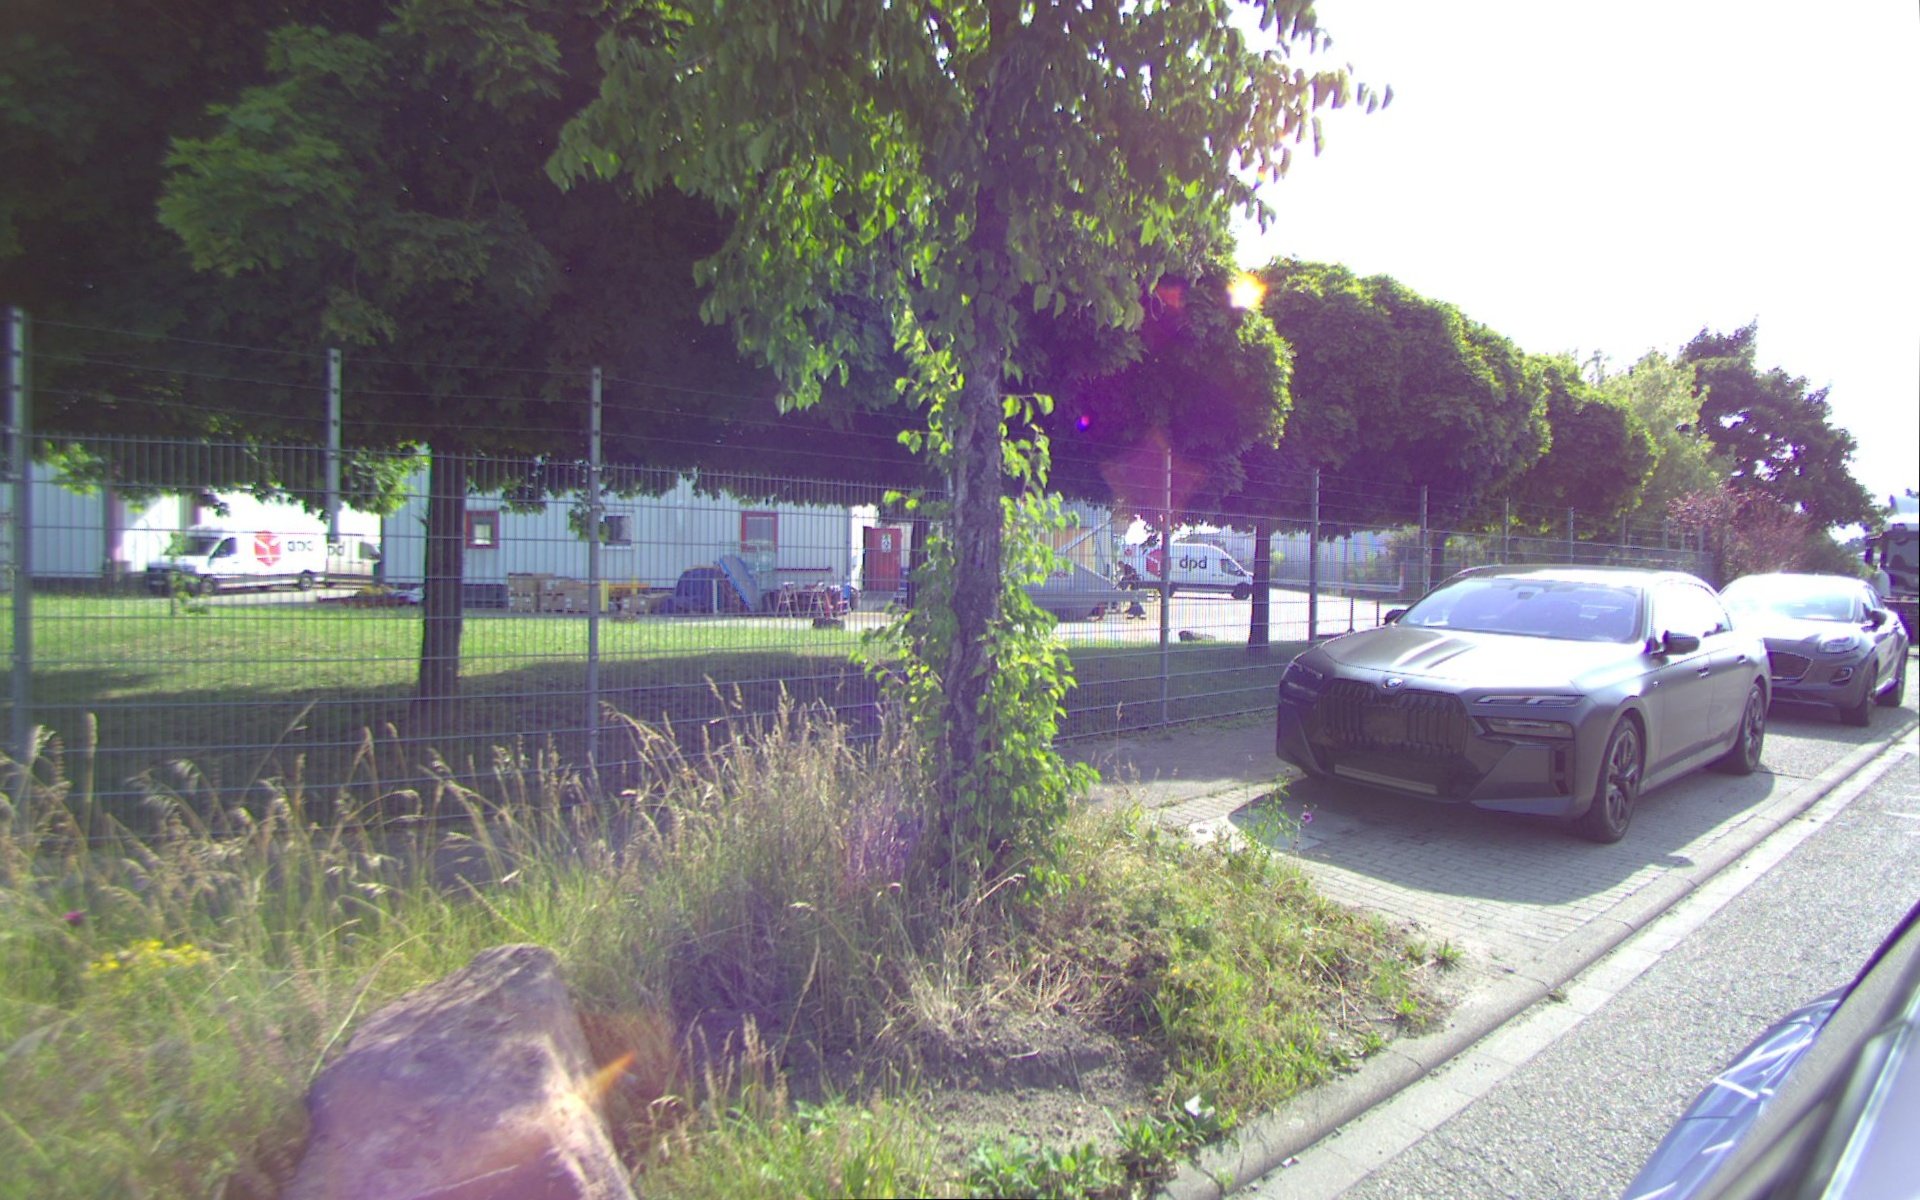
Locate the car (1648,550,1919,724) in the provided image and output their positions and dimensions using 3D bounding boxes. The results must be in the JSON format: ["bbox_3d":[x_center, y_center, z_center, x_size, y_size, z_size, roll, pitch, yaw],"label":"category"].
[{"bbox_3d":[9.827,0.282,11.831,4.042,1.592,1.885,-2,6,-41],"label":"car"}]

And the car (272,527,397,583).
[{"bbox_3d":[-28.158,-2.045,45.604,4.773,2.317,1.925,2,2,12],"label":"car"}]

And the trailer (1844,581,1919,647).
[{"bbox_3d":[21.537,0.257,22.469,7.323,1.250,1.942,-1,4,-42],"label":"trailer"}]

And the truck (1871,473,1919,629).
[{"bbox_3d":[27.425,-1.265,27.863,5.946,4.011,2.697,-1,5,-43],"label":"truck"}]

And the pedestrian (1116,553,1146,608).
[{"bbox_3d":[5.477,-0.633,32.395,0.847,1.743,0.628,2,2,18],"label":"pedestrian"}]

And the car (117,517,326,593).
[{"bbox_3d":[-26.954,-1.683,37.389,2.138,2.548,6.688,1,3,9],"label":"car"}]

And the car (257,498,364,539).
[{"bbox_3d":[-34.014,-4.274,53.031,4.773,1.988,1.925,2,2,12],"label":"car"}]

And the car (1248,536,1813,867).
[{"bbox_3d":[4.365,0.402,7.312,5.029,1.592,1.885,-2,5,-40],"label":"car"}]

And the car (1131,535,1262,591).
[{"bbox_3d":[11.847,-1.881,51.111,6.169,2.681,2.208,1,2,9],"label":"car"}]
